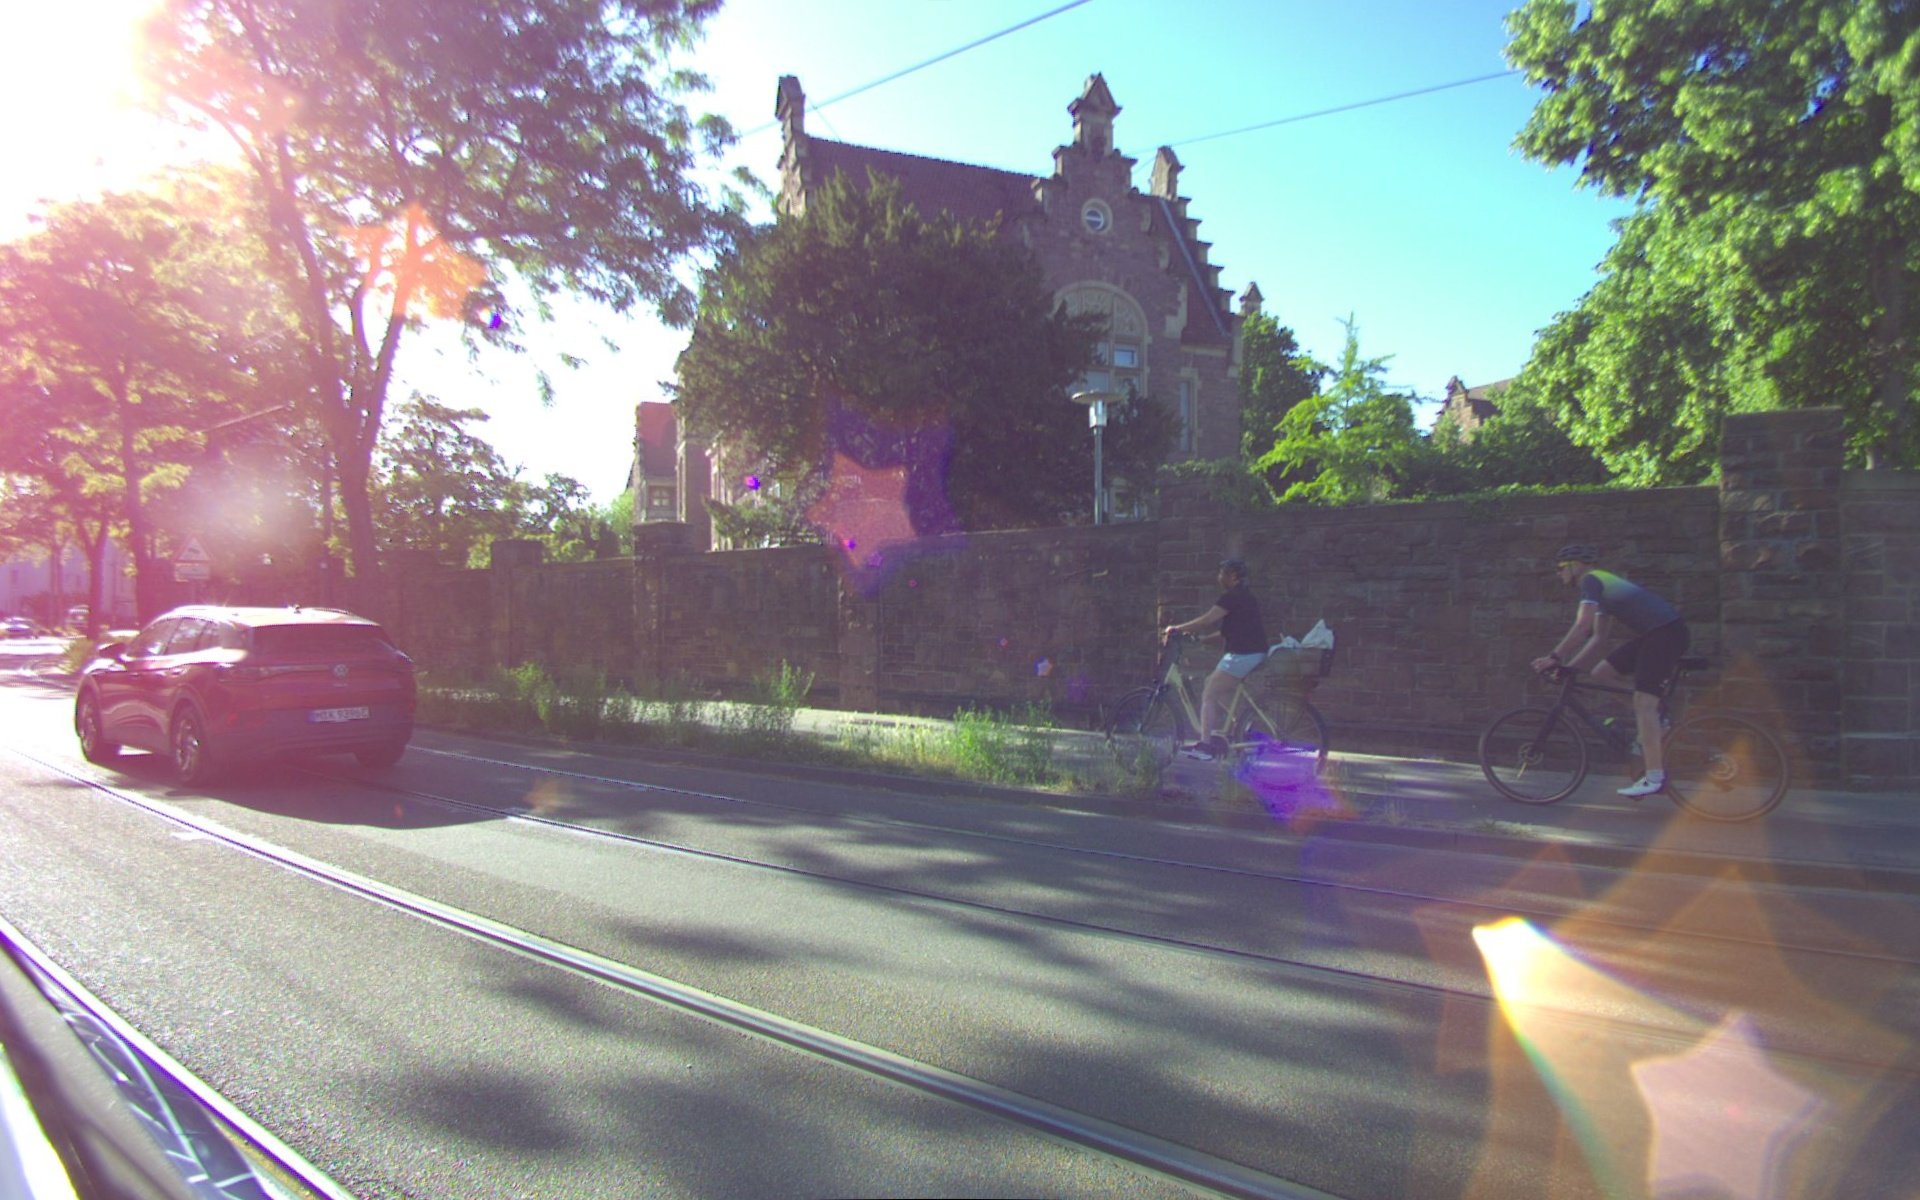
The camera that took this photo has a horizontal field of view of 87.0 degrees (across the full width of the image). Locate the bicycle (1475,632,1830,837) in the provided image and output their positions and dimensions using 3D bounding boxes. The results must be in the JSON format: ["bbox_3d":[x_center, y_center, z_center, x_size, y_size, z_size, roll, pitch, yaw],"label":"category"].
[{"bbox_3d":[4.547,0.810,6.744,1.854,1.097,0.677,2,0,40],"label":"bicycle"}]

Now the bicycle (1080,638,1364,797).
[{"bbox_3d":[2.031,0.862,7.998,2.058,1.097,0.679,-1,-1,34],"label":"bicycle"}]

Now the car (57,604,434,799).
[{"bbox_3d":[-7.412,0.882,10.371,4.349,1.619,1.802,-1,-1,35],"label":"car"}]

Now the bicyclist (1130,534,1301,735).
[{"bbox_3d":[2.020,0.263,8.017,1.149,1.470,0.647,-1,-1,34],"label":"bicyclist"}]

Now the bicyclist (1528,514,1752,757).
[{"bbox_3d":[4.524,0.226,6.756,1.151,1.470,0.646,-1,-1,41],"label":"bicyclist"}]
